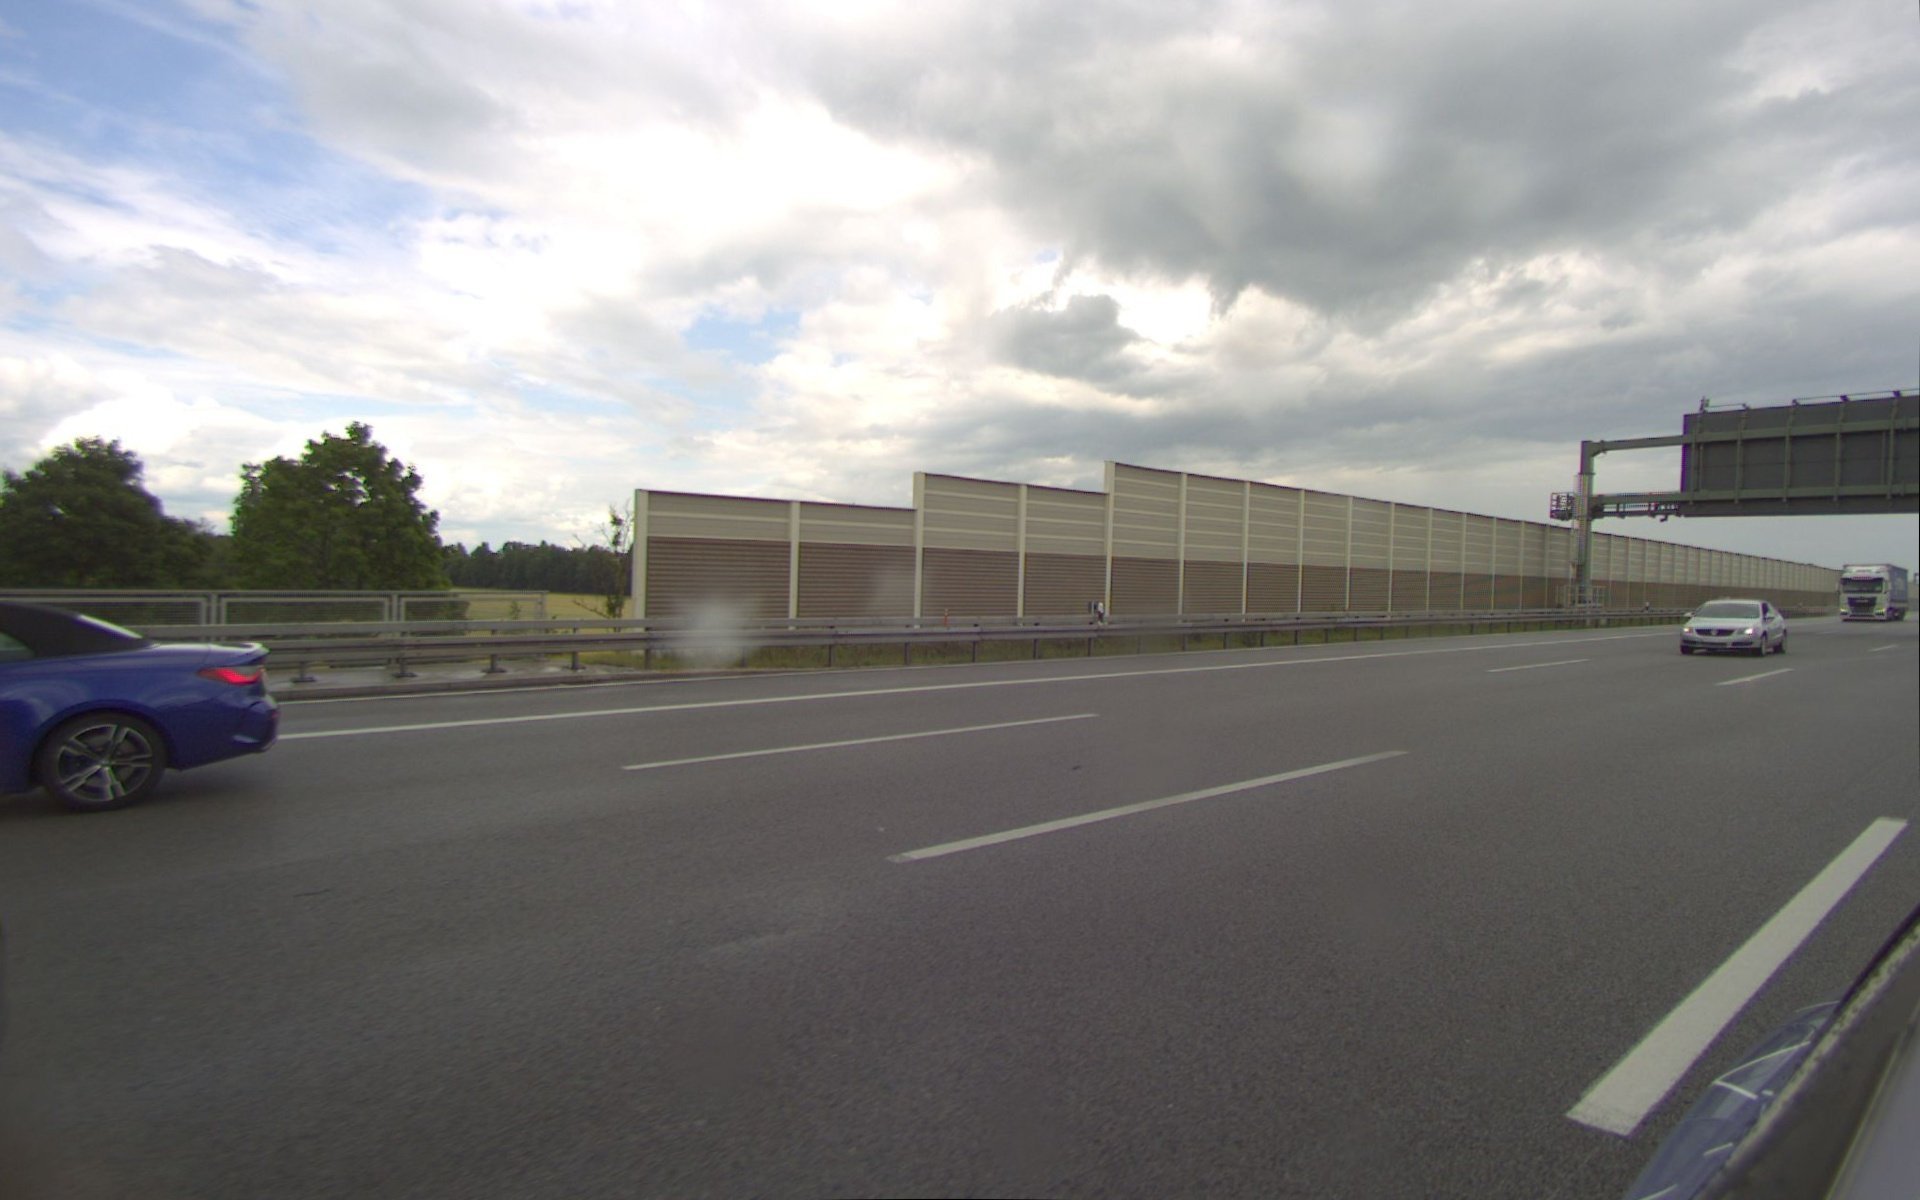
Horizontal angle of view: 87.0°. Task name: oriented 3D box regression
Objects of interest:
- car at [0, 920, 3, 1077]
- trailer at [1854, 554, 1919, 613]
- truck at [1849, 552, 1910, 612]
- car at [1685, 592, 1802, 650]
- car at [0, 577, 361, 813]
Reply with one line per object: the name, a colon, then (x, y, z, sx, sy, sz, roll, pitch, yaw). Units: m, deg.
car: (-3.755, 0.659, 0.808, 4.202, 1.434, 1.721, -2, 2, -40)
trailer: (70.517, -1.099, 76.766, 14.207, 4.083, 2.764, 1, 0, -43)
truck: (65.526, -1.199, 72.058, 5.629, 4.086, 2.748, 1, 0, -43)
car: (20.891, 0.535, 26.941, 3.930, 1.421, 1.731, 1, 0, -41)
car: (-6.616, 0.565, 6.830, 4.158, 1.436, 1.953, 0, 1, -41)
